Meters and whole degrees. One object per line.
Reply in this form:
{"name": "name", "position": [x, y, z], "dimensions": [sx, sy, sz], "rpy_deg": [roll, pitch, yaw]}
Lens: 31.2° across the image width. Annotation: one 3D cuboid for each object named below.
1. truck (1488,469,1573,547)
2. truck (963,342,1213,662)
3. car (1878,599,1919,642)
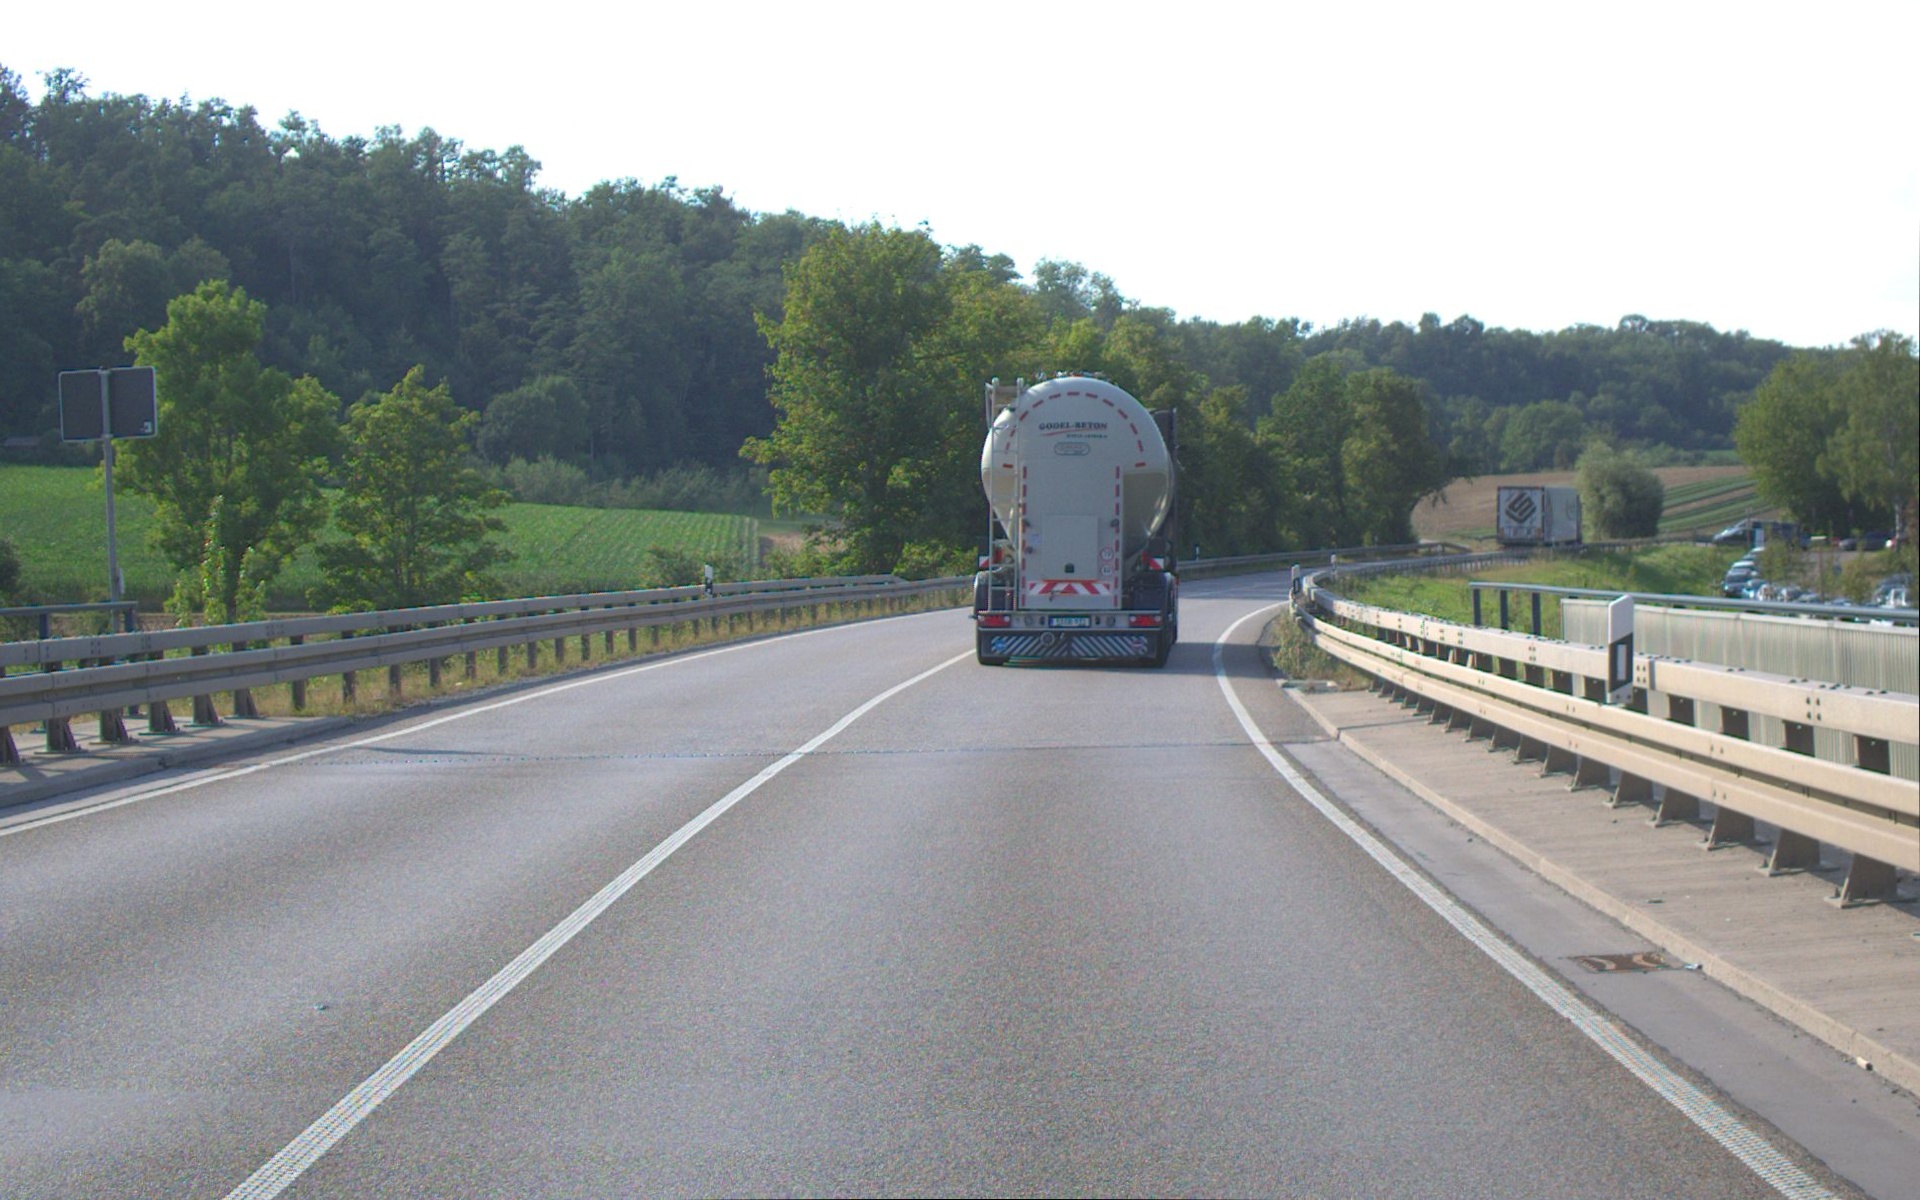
{"name": "truck", "position": [32.763, -5.324, 196.973], "dimensions": [3.186, 4.213, 13.163], "rpy_deg": [-1, 2, 16]}
{"name": "truck", "position": [2.129, -1.362, 51.023], "dimensions": [2.893, 4.128, 13.169], "rpy_deg": [0, 1, 6]}
{"name": "car", "position": [40.077, 0.841, 143.622], "dimensions": [1.892, 1.477, 4.783], "rpy_deg": [-4, 2, -2]}
